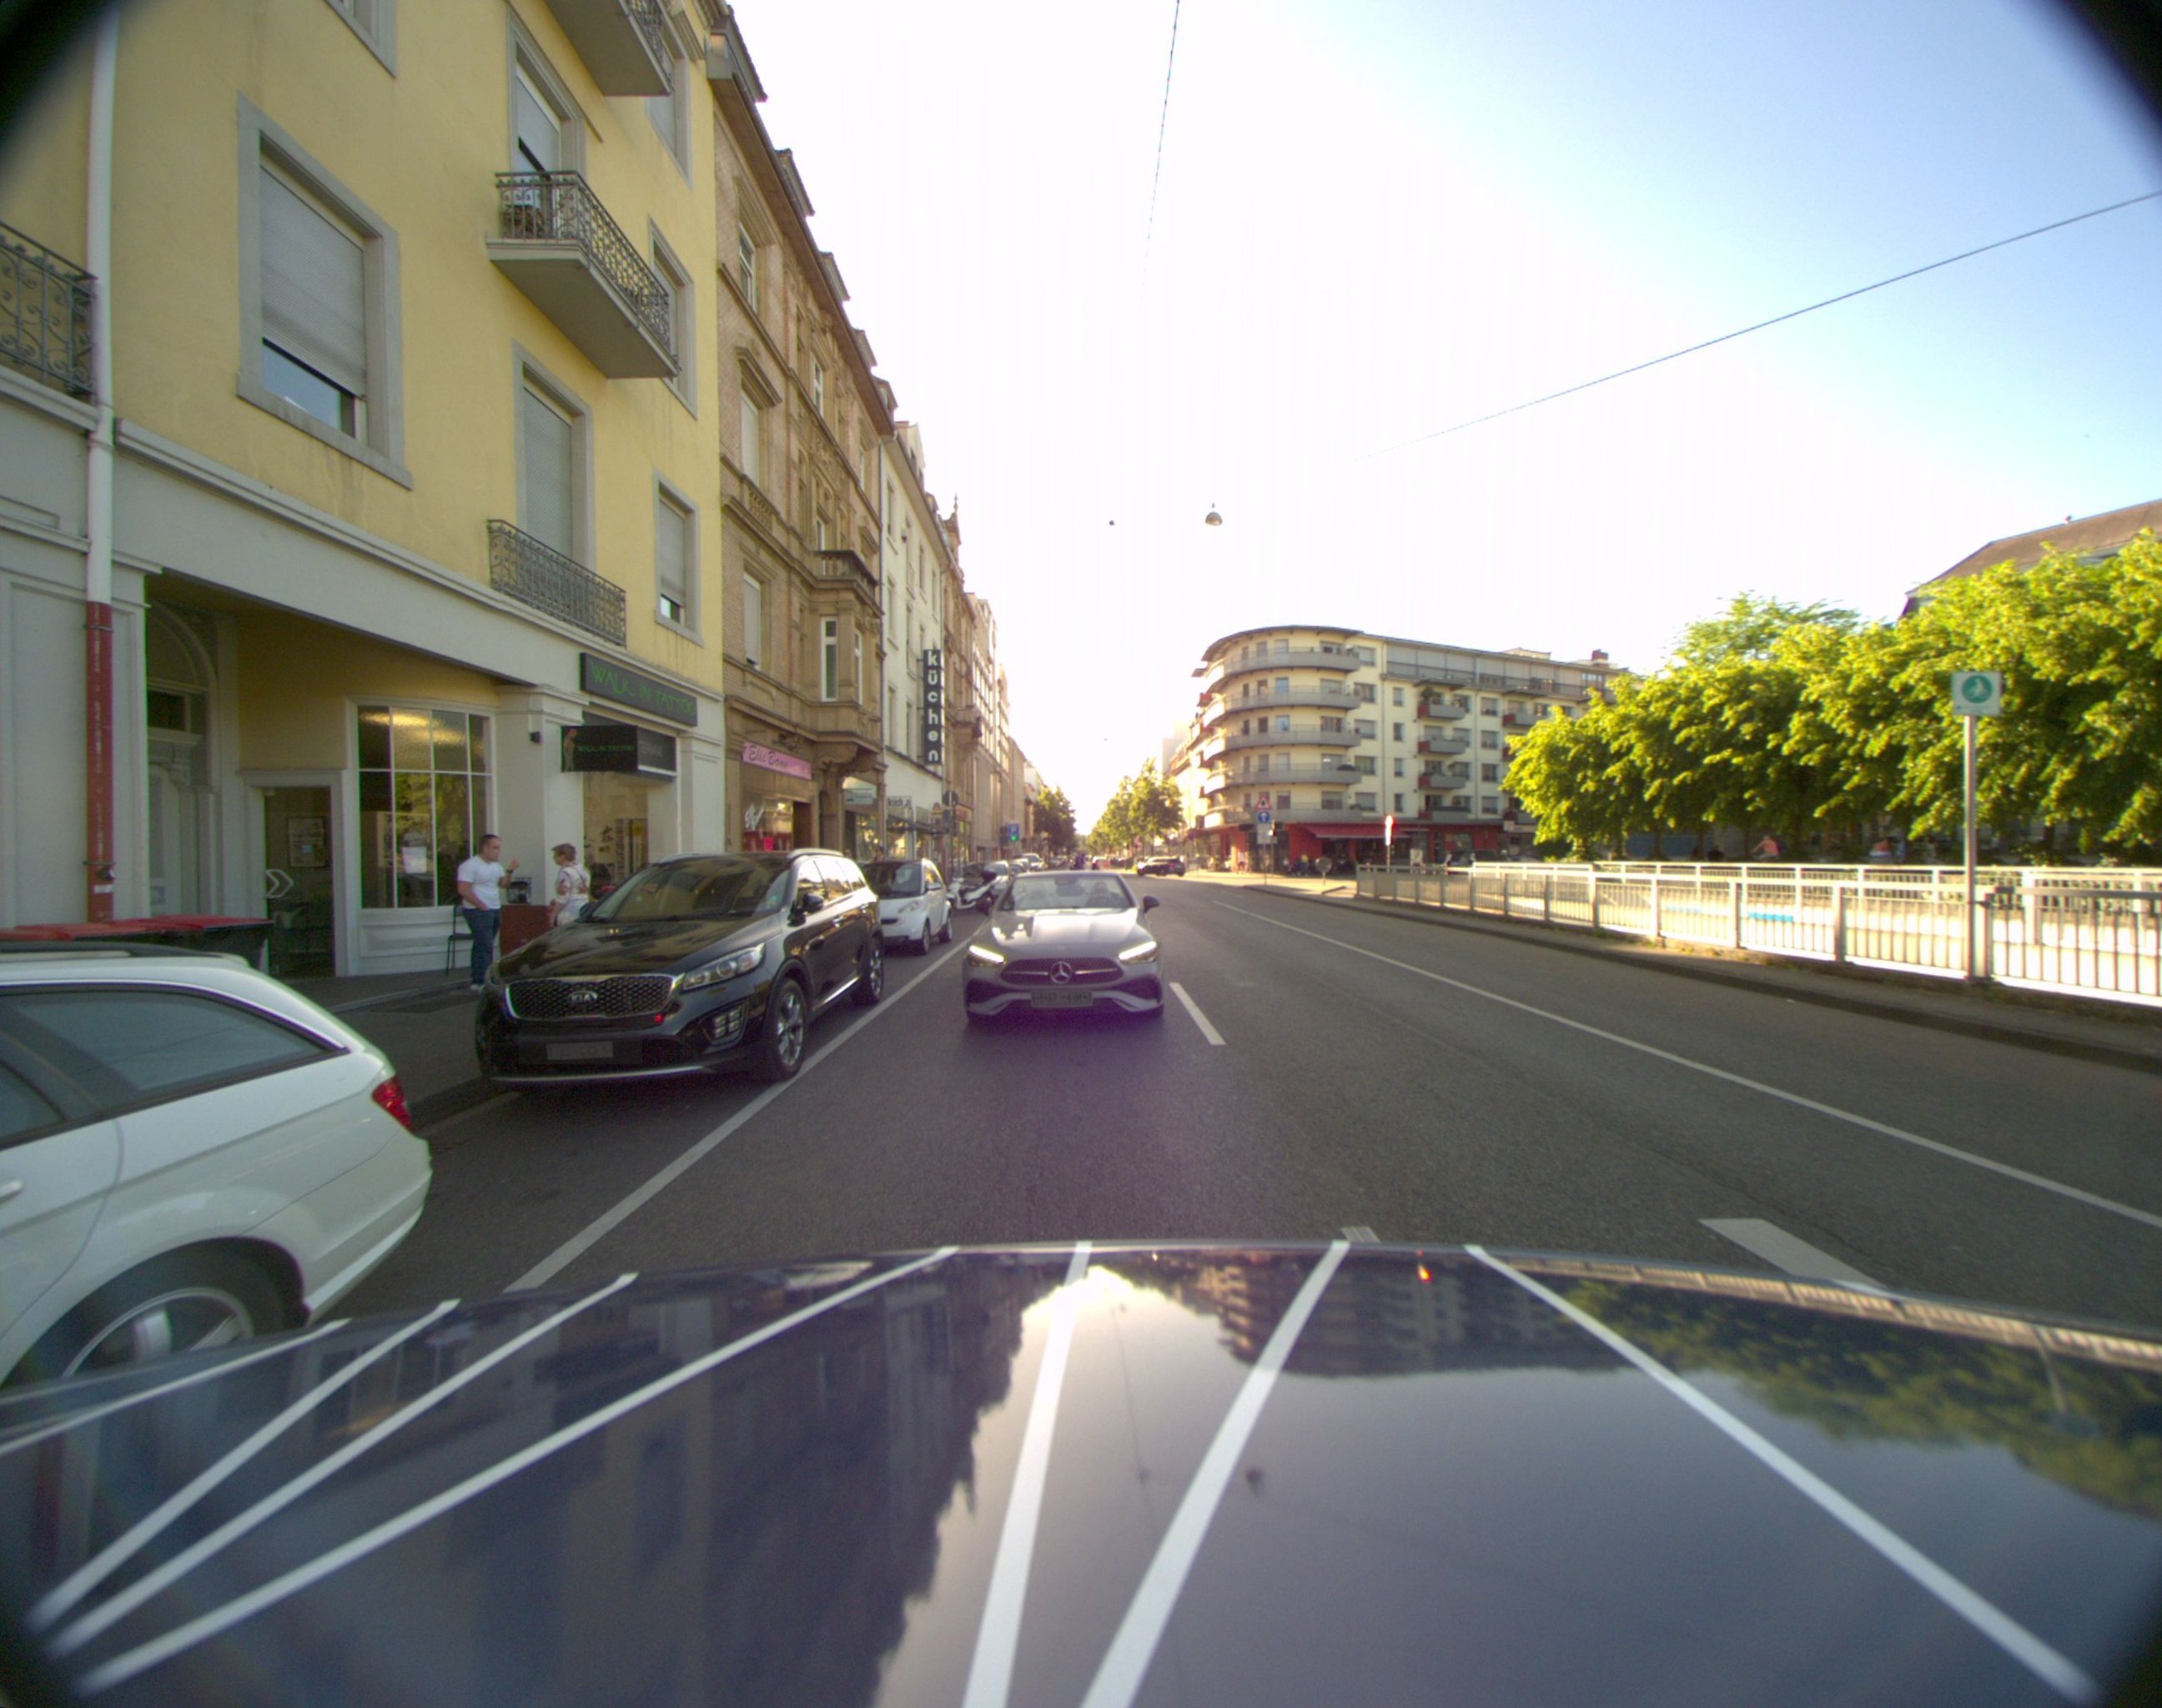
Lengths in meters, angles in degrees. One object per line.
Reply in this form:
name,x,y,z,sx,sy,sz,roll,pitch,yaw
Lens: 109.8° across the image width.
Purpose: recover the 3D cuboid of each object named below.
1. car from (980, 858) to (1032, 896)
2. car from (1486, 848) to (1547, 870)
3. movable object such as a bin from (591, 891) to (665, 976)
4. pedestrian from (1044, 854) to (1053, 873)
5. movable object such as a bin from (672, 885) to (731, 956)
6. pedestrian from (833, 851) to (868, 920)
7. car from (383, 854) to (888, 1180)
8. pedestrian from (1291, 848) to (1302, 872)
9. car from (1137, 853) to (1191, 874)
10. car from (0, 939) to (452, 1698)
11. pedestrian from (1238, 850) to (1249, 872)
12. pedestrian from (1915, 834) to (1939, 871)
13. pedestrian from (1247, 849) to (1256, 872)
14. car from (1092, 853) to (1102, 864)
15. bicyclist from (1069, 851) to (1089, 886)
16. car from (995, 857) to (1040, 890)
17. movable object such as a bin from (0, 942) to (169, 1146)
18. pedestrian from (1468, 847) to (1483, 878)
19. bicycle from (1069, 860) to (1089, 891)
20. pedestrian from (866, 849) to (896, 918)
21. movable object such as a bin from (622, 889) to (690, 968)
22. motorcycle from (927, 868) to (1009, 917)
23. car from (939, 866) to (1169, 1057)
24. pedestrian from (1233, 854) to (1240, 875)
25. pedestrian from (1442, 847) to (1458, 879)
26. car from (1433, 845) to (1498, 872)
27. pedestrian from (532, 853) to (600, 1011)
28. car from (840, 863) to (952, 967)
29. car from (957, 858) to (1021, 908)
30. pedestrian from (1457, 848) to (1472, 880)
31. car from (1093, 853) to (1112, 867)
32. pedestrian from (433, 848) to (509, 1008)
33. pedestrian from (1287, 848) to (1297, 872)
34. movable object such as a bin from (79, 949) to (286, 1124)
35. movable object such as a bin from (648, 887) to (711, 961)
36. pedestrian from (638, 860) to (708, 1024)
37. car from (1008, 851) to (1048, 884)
car,-3.056,0.917,31.787,1.737,1.409,3.802,-1,0,0
car,34.309,0.405,59.834,4.300,1.611,1.952,-2,0,-23
movable object such as a bin,-6.142,1.063,10.318,0.606,1.060,0.619,2,1,1
pedestrian,-2.807,0.833,65.307,0.774,1.606,0.696,-2,1,-3
movable object such as a bin,-6.092,1.056,12.213,0.606,1.060,0.619,2,1,1
pedestrian,-5.561,0.749,18.331,0.617,1.623,0.464,-1,1,26
car,-3.020,0.896,6.484,1.760,1.726,4.571,-1,0,-3
pedestrian,15.373,0.430,54.191,0.575,1.698,0.642,-1,1,3
car,5.879,0.679,54.278,1.810,1.388,3.917,-2,0,-32
car,-3.116,1.049,0.445,1.743,1.438,4.464,-1,0,0
pedestrian,11.908,0.503,55.783,0.570,1.612,0.793,-2,1,-5
pedestrian,41.468,-0.082,37.250,0.602,1.782,0.582,-2,1,-20
pedestrian,12.541,0.507,55.831,0.442,1.663,0.516,-2,1,-6
car,3.165,0.855,149.653,1.998,2.002,4.000,-2,1,1
bicyclist,-0.071,0.612,32.139,0.798,1.426,1.008,-1,1,1
car,-2.967,0.888,36.211,1.737,1.409,3.802,-1,0,0
movable object such as a bin,-6.137,1.086,4.525,0.661,1.035,0.619,2,1,3
pedestrian,22.642,0.495,43.613,0.602,1.782,0.581,-3,1,-40
bicycle,-0.066,0.891,32.164,0.798,1.226,1.773,-1,0,1
pedestrian,-4.847,0.708,18.430,0.413,1.623,0.516,-1,1,27
movable object such as a bin,-6.117,1.056,10.965,0.606,1.060,0.619,2,1,1
motorcycle,-3.199,1.062,21.669,2.178,1.272,0.866,-2,1,-42
car,-0.208,0.916,8.418,1.848,1.440,4.373,-1,0,0
pedestrian,11.404,0.754,55.701,0.376,1.521,0.516,-2,1,-3
pedestrian,20.896,0.500,43.014,0.602,1.782,0.581,-3,2,-45
car,29.099,0.334,57.459,4.432,1.901,1.952,-2,1,-23
pedestrian,-5.611,0.819,8.295,0.594,1.651,0.450,0,1,-34
car,-3.053,0.944,12.963,1.275,1.509,2.794,-1,0,-2
car,-3.042,0.912,25.865,1.737,1.509,4.164,-1,0,-2
pedestrian,21.856,0.550,43.330,0.602,1.782,0.581,-3,2,-45
car,2.266,0.599,81.434,1.895,1.388,4.256,-1,0,1
pedestrian,-6.486,0.758,8.094,0.337,1.651,0.525,1,1,24
pedestrian,15.285,0.407,54.991,0.575,1.698,0.642,-1,1,3
movable object such as a bin,-6.088,1.207,5.181,0.669,1.019,0.619,2,1,3
movable object such as a bin,-6.104,1.049,11.580,0.606,1.060,0.619,2,1,1
pedestrian,-4.506,0.948,8.409,0.434,1.752,0.481,-2,1,1
car,-2.958,0.722,42.841,1.895,1.680,4.049,-1,0,0
